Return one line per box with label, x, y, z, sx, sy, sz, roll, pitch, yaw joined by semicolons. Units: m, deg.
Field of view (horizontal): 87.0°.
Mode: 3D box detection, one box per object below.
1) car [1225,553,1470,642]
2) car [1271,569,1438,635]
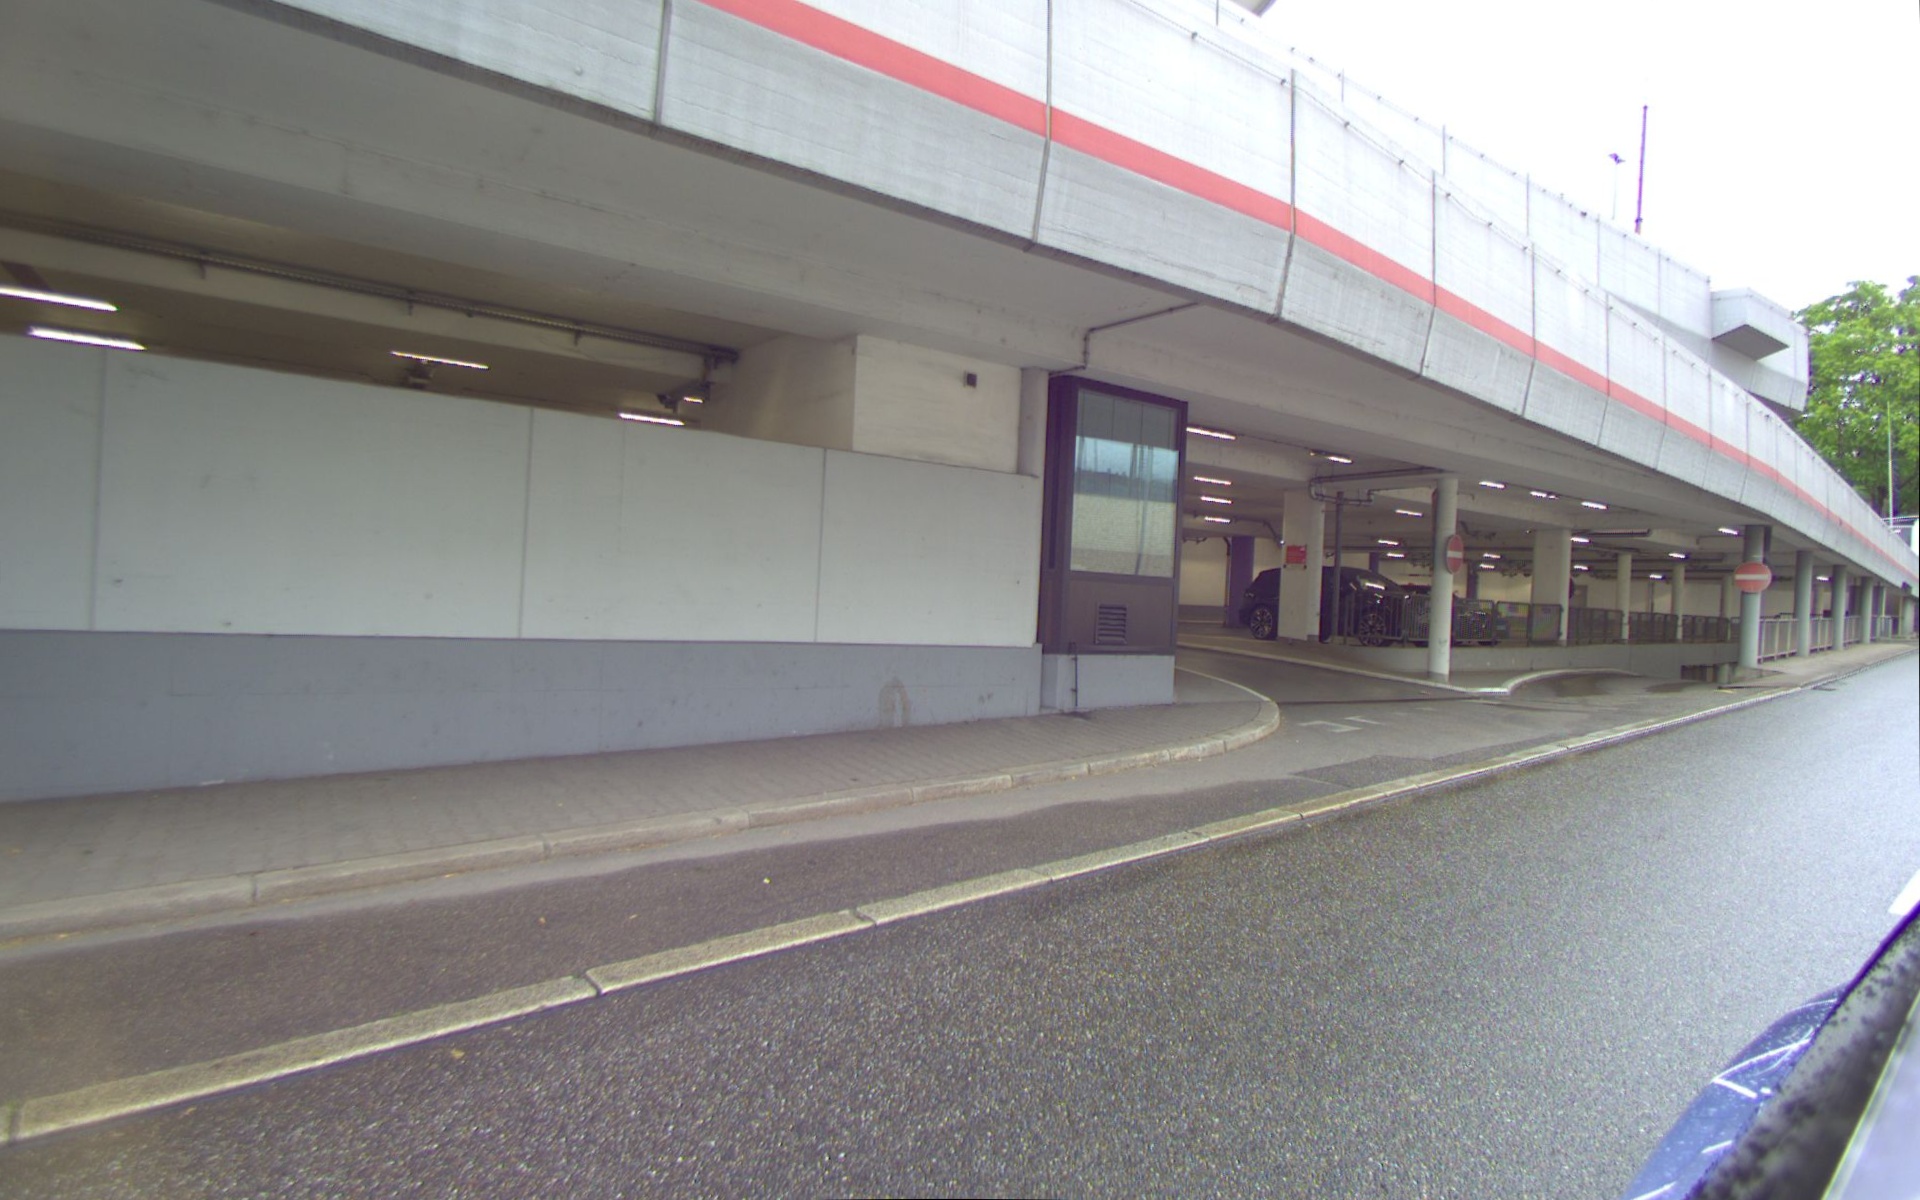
car;8.039;0.003;21.443;1.787;1.661;4.590;-2;-1;-34
car;10.460;0.025;27.008;1.774;1.524;3.734;2;1;-38
